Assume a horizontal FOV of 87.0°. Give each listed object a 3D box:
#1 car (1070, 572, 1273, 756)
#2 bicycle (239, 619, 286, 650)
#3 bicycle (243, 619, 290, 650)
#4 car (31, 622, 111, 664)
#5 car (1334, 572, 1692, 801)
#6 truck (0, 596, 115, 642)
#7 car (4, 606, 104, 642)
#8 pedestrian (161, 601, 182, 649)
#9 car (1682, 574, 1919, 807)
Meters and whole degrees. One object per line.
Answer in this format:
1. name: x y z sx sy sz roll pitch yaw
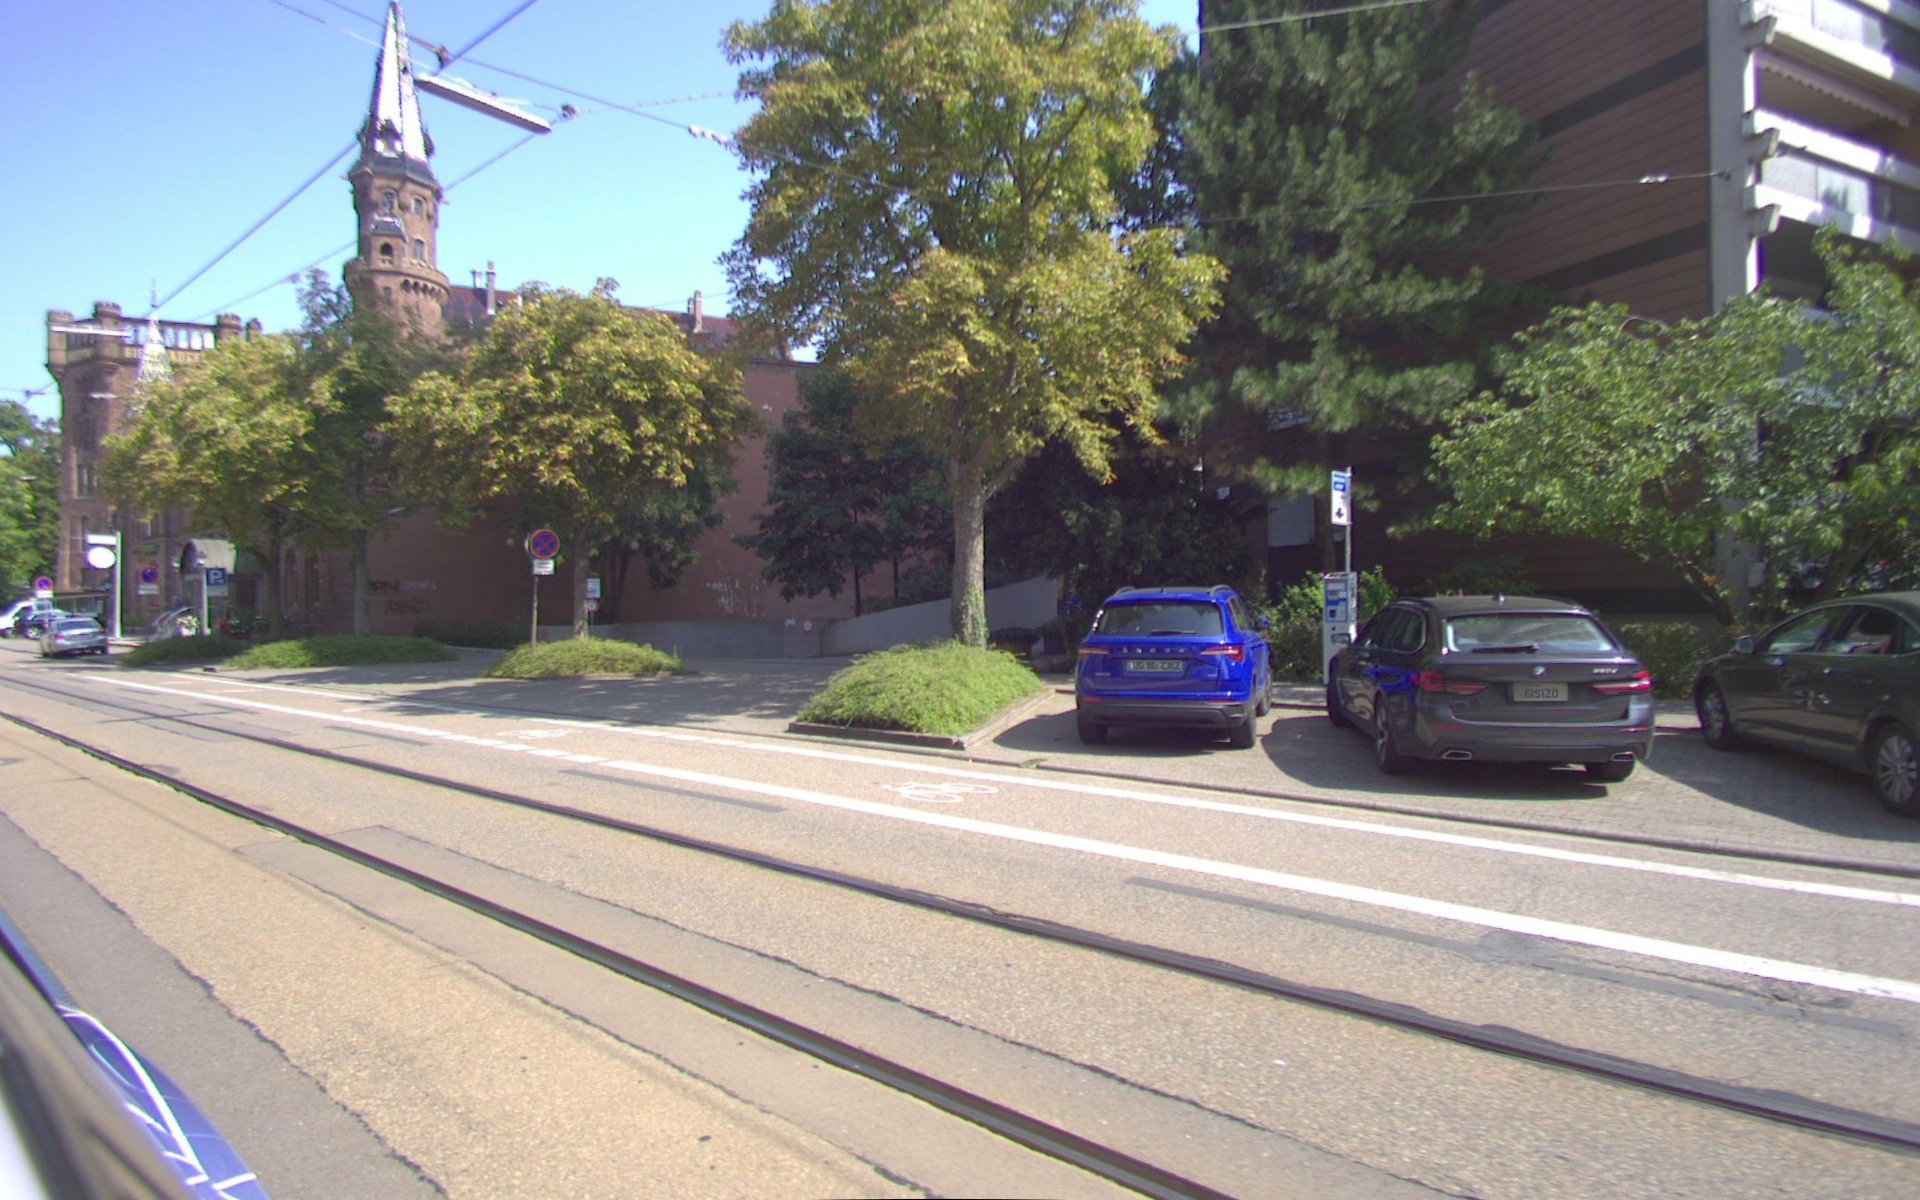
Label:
1. car: 2.504 0.596 11.339 1.826 1.660 3.978 -1 0 17
2. bicycle: -27.630 1.350 40.109 0.376 1.069 1.435 -1 4 30
3. bicycle: -27.367 1.345 39.946 0.376 1.069 1.435 -1 4 30
4. car: -34.914 1.644 39.705 4.514 1.513 1.914 -1 -1 43
5. car: 4.609 0.617 9.134 1.763 1.582 3.984 -1 0 13
6. truck: -60.925 1.258 67.631 2.316 2.543 6.431 -2 3 40
7. car: -56.658 1.450 63.350 2.000 1.810 4.352 -1 4 42
8. pedestrian: -33.235 1.049 42.672 0.497 1.995 0.520 -1 0 -6
9. car: 7.298 0.568 7.405 1.763 1.508 4.277 -1 0 14
